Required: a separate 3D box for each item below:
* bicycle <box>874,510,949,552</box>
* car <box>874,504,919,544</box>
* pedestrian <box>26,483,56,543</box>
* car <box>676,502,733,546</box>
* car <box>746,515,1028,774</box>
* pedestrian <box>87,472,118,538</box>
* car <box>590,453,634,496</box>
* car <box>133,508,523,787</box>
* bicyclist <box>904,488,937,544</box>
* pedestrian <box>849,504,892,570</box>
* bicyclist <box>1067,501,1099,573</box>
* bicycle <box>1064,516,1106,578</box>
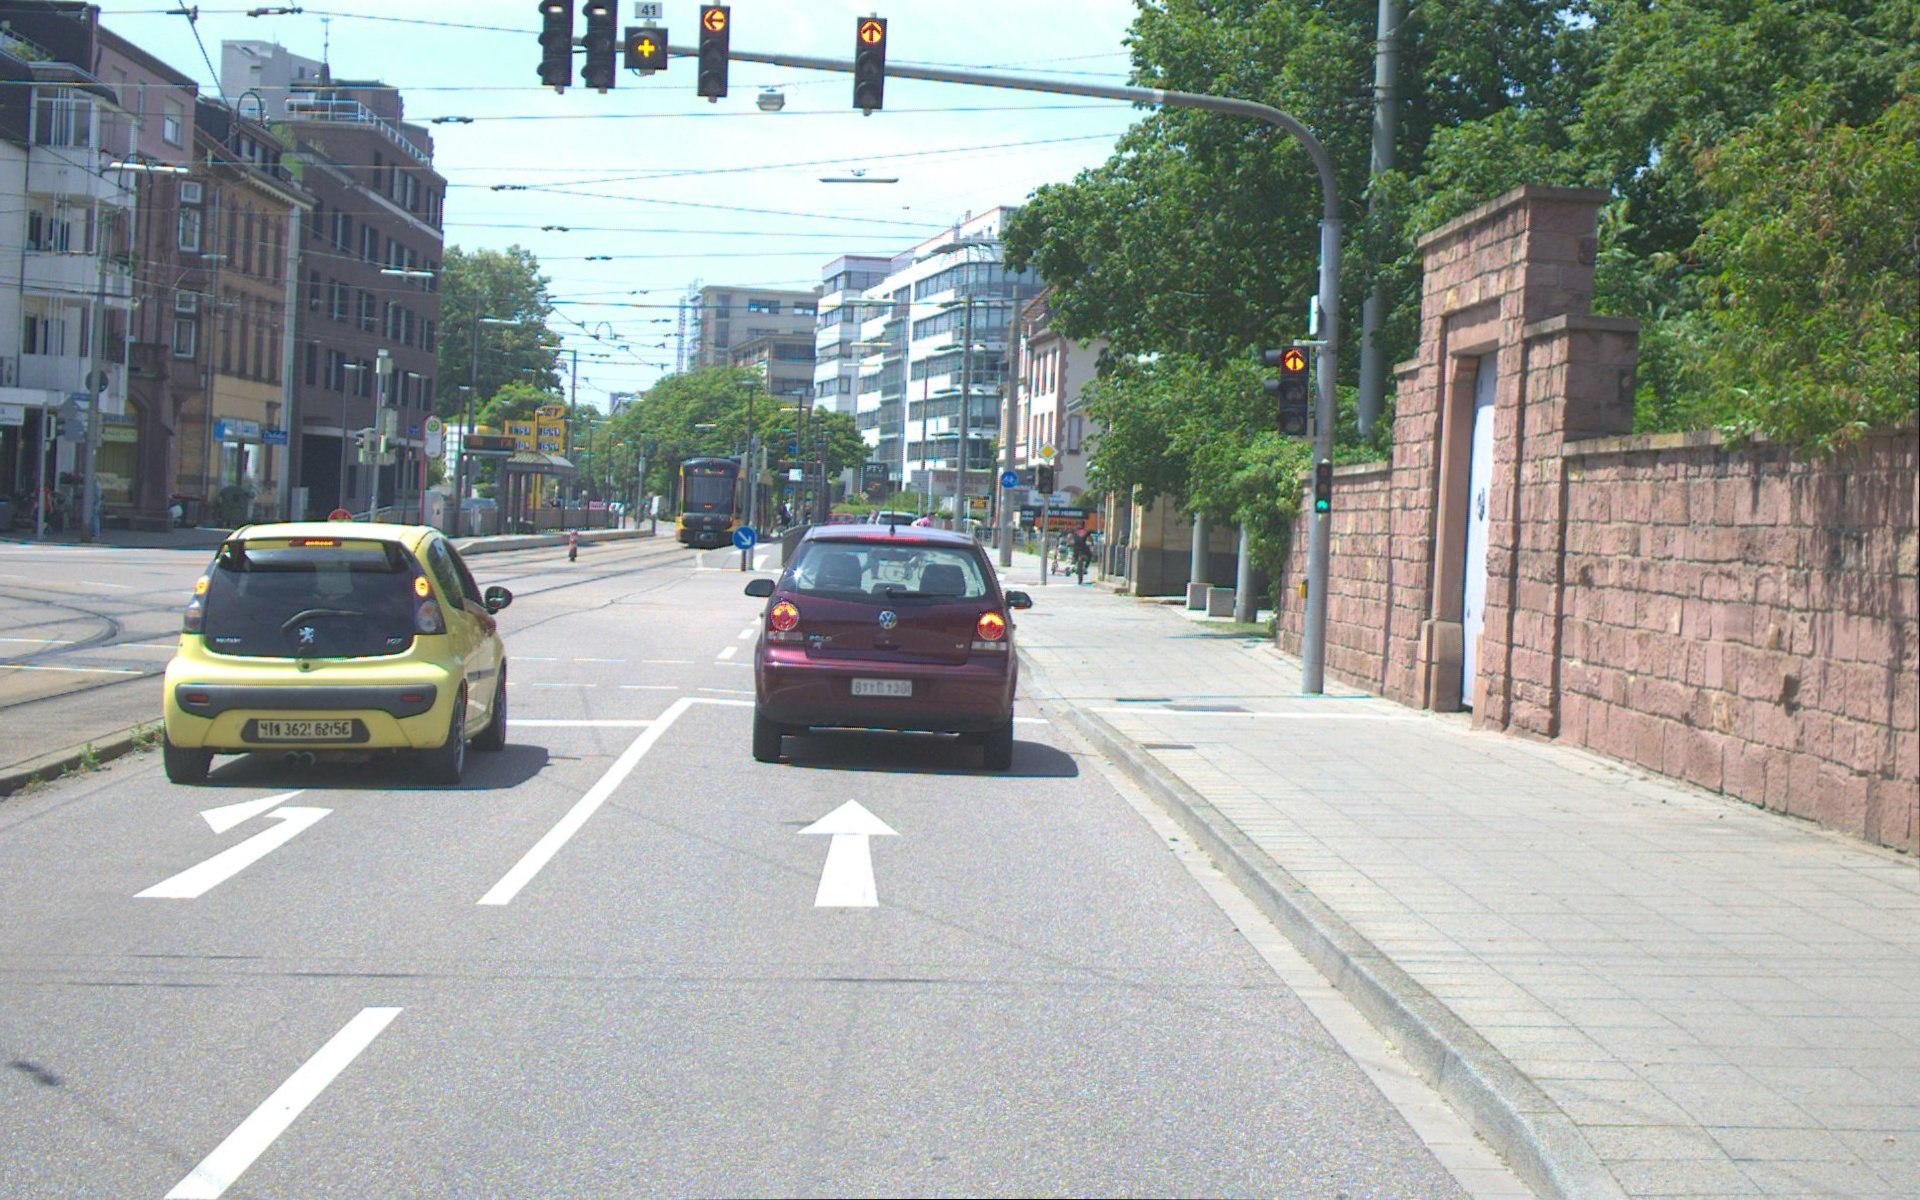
[{"bbox_3d":[-1.232,-1.749,87.302,1.865,1.004,0.579,1,1,-5],"label":"bicycle"},{"bbox_3d":[-2.273,-2.706,122.447,1.572,1.411,3.720,0,1,-1],"label":"car"},{"bbox_3d":[-23.575,-2.232,88.164,0.484,1.535,0.537,2,1,29],"label":"pedestrian"},{"bbox_3d":[-9.781,-2.903,131.897,1.938,1.635,4.000,1,1,-1],"label":"car"},{"bbox_3d":[-0.482,0.216,22.474,1.610,1.458,4.086,3,1,-1],"label":"car"},{"bbox_3d":[-22.831,-2.523,91.525,0.609,1.748,0.505,1,1,-45],"label":"pedestrian"},{"bbox_3d":[-17.093,-6.173,169.136,1.735,2.006,4.000,2,1,-1],"label":"car"},{"bbox_3d":[-3.586,0.211,20.009,1.723,1.440,3.293,1,2,-1],"label":"car"},{"bbox_3d":[-1.002,-2.136,87.404,0.765,1.401,0.506,1,1,-4],"label":"bicyclist"},{"bbox_3d":[-2.310,-1.627,88.515,0.981,1.655,0.919,2,1,-5],"label":"pedestrian"},{"bbox_3d":[3.123,-1.600,87.494,0.721,1.812,0.888,1,1,-1],"label":"bicyclist"},{"bbox_3d":[3.154,-1.329,87.069,0.835,1.520,4.000,1,1,-1],"label":"bicycle"}]
